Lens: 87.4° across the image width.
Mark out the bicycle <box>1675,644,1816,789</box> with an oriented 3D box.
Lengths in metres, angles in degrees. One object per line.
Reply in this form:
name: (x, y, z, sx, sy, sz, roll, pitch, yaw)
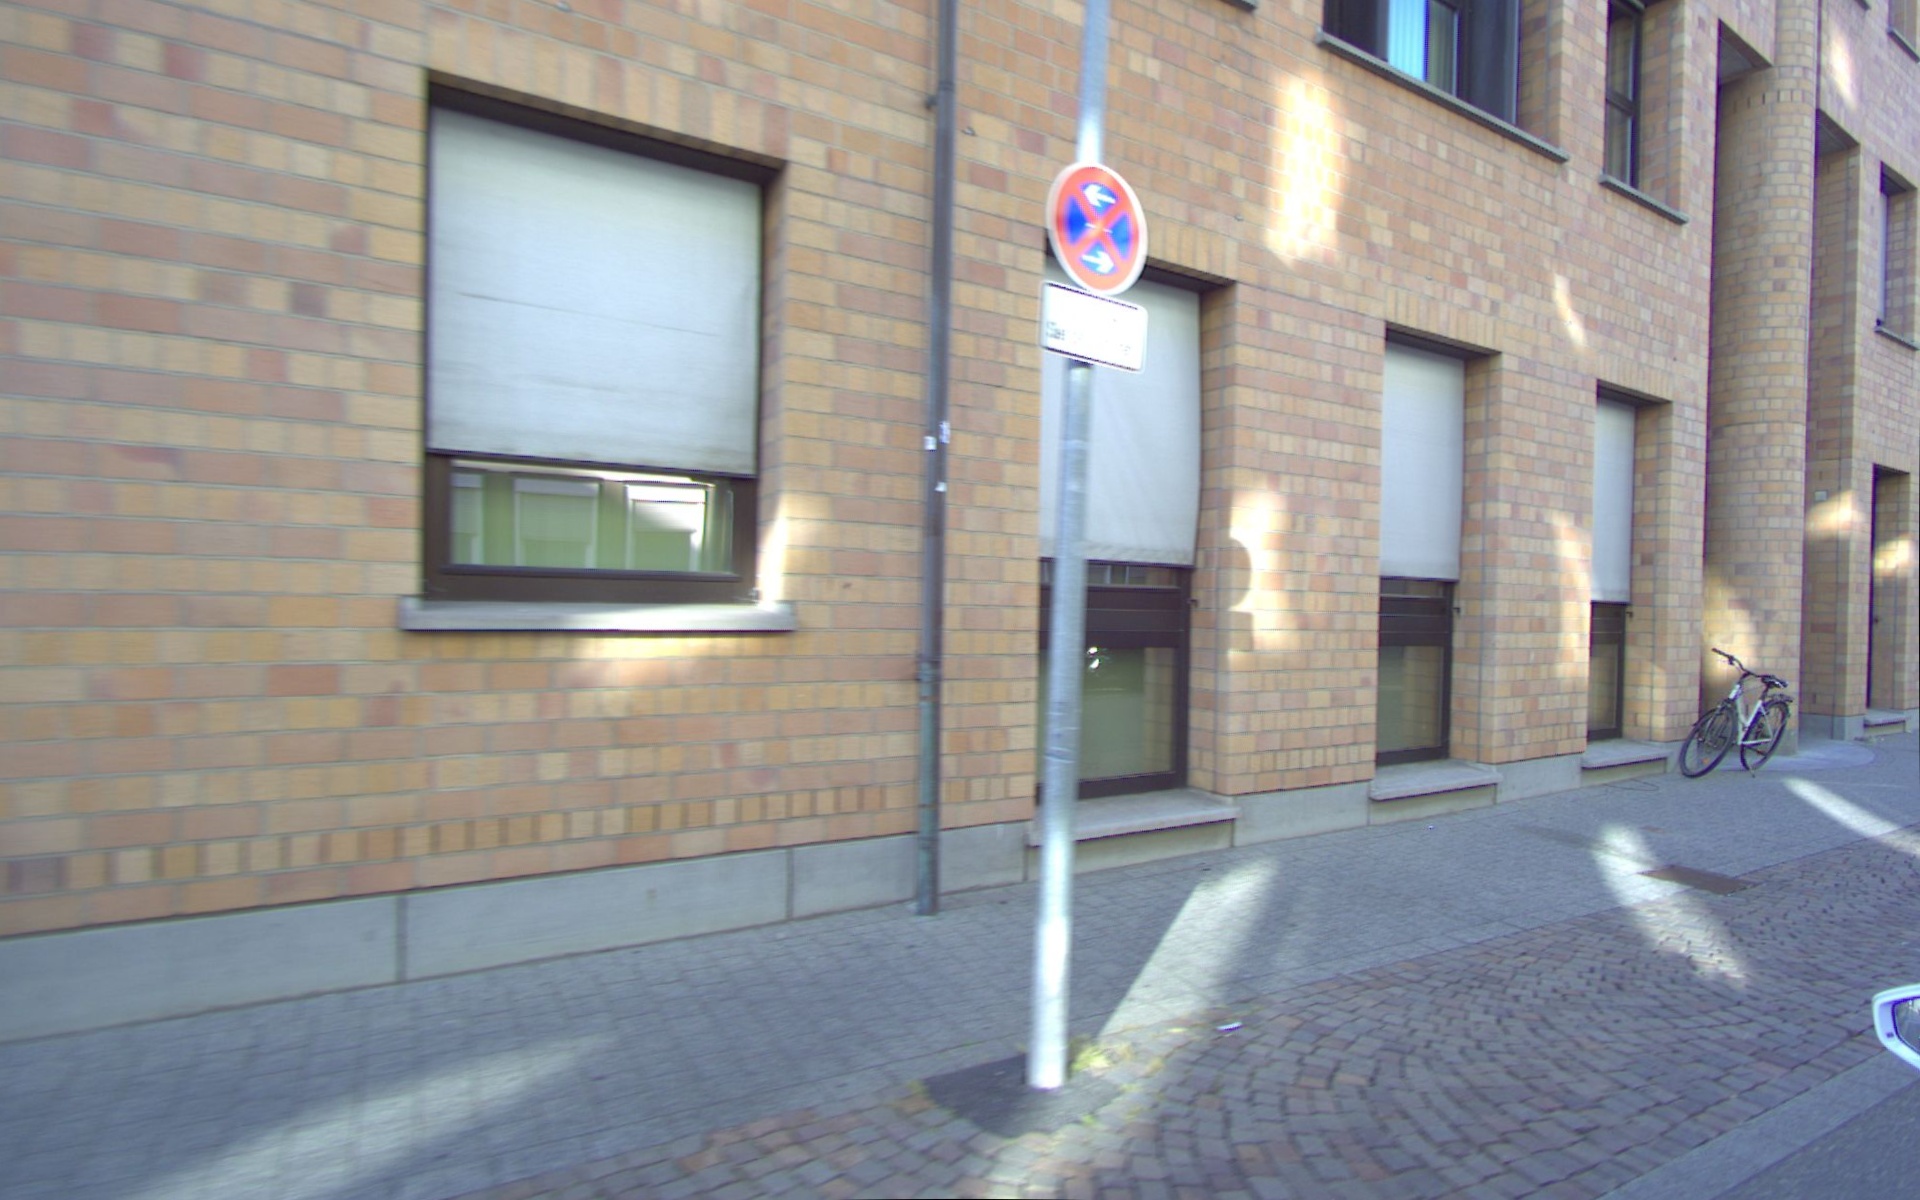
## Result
bicycle: (7.504, 1.050, 9.567, 1.789, 1.178, 0.626, 0, 3, -40)
